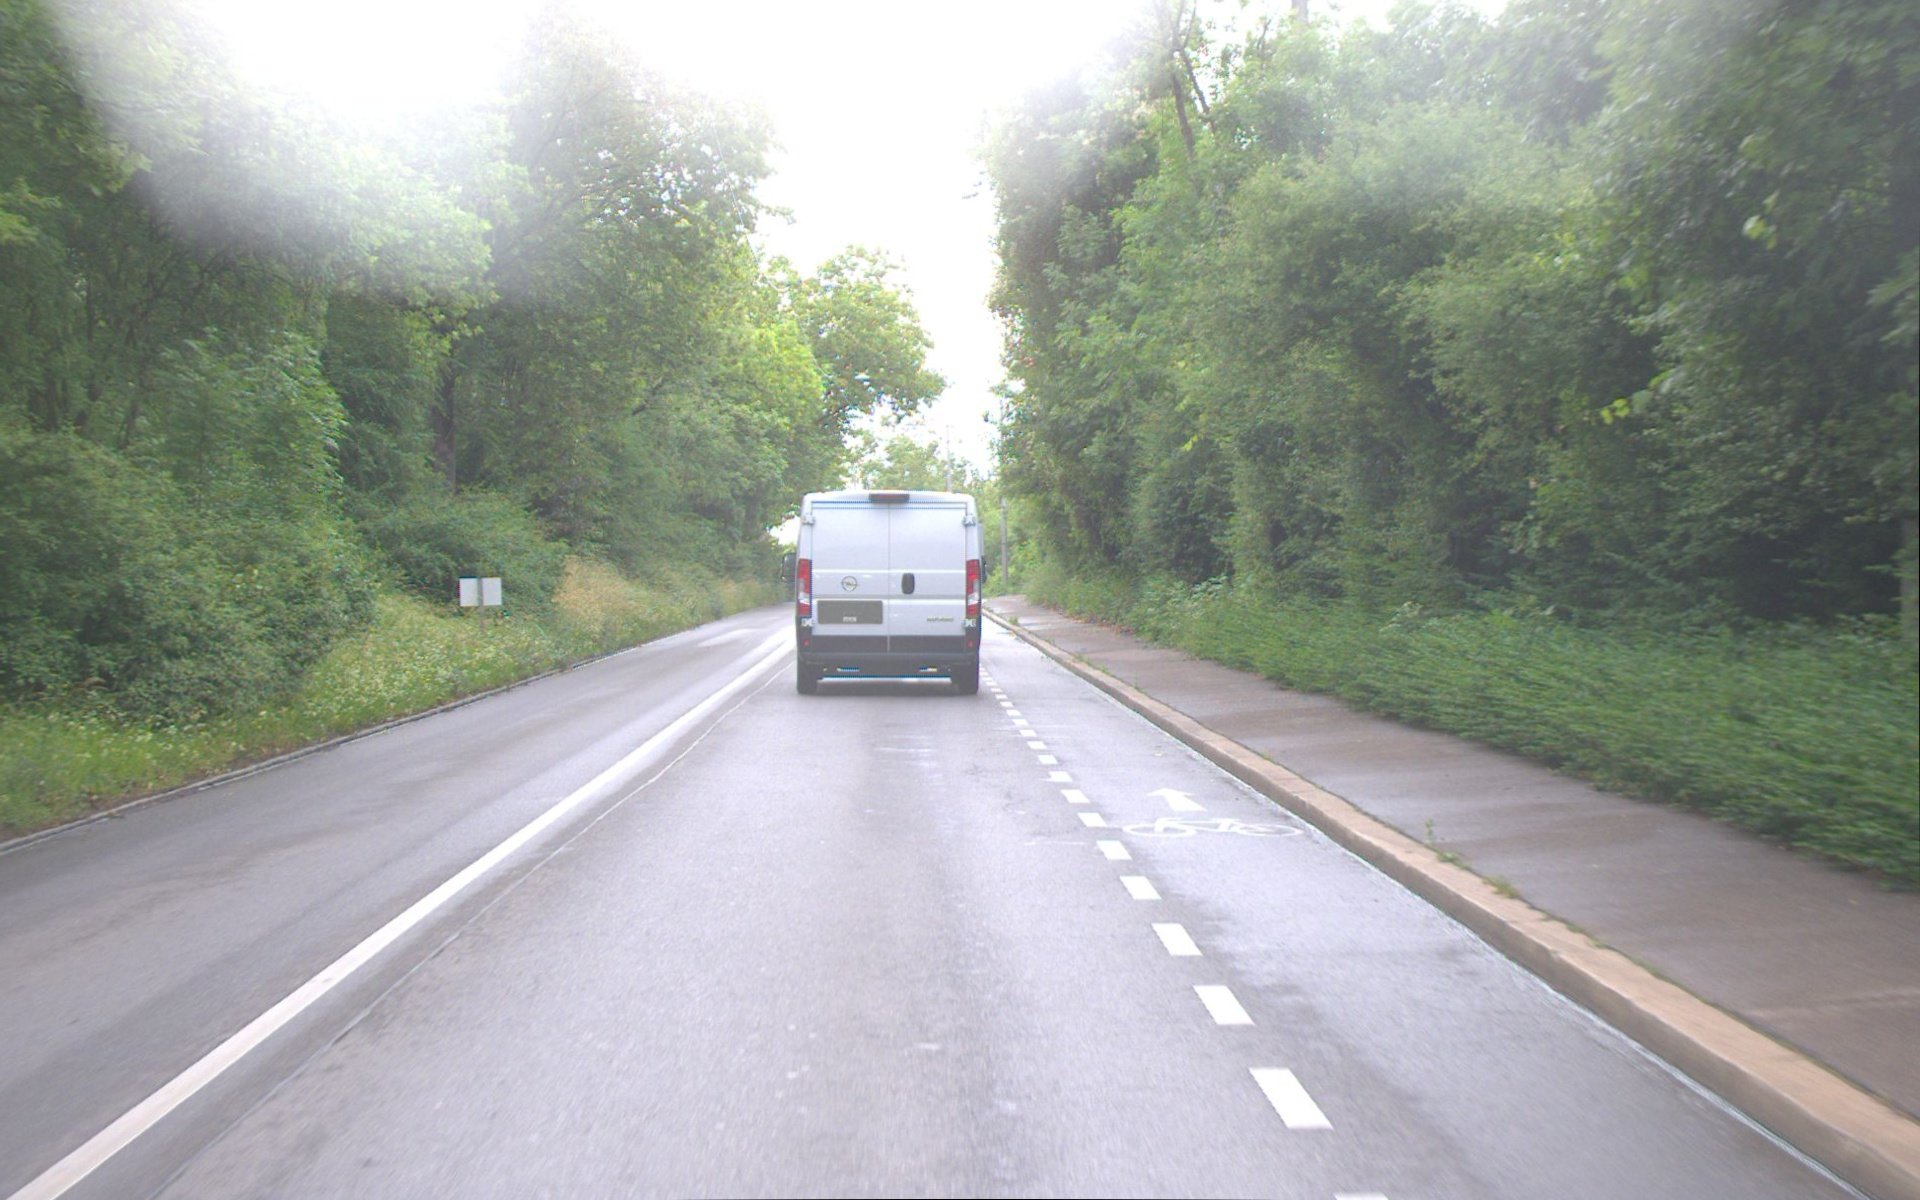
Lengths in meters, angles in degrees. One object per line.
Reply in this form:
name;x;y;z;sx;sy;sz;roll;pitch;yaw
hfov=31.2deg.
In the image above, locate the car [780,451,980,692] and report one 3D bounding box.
car;-0.878;-0.363;39.451;2.050;2.508;4.944;2;1;-1
